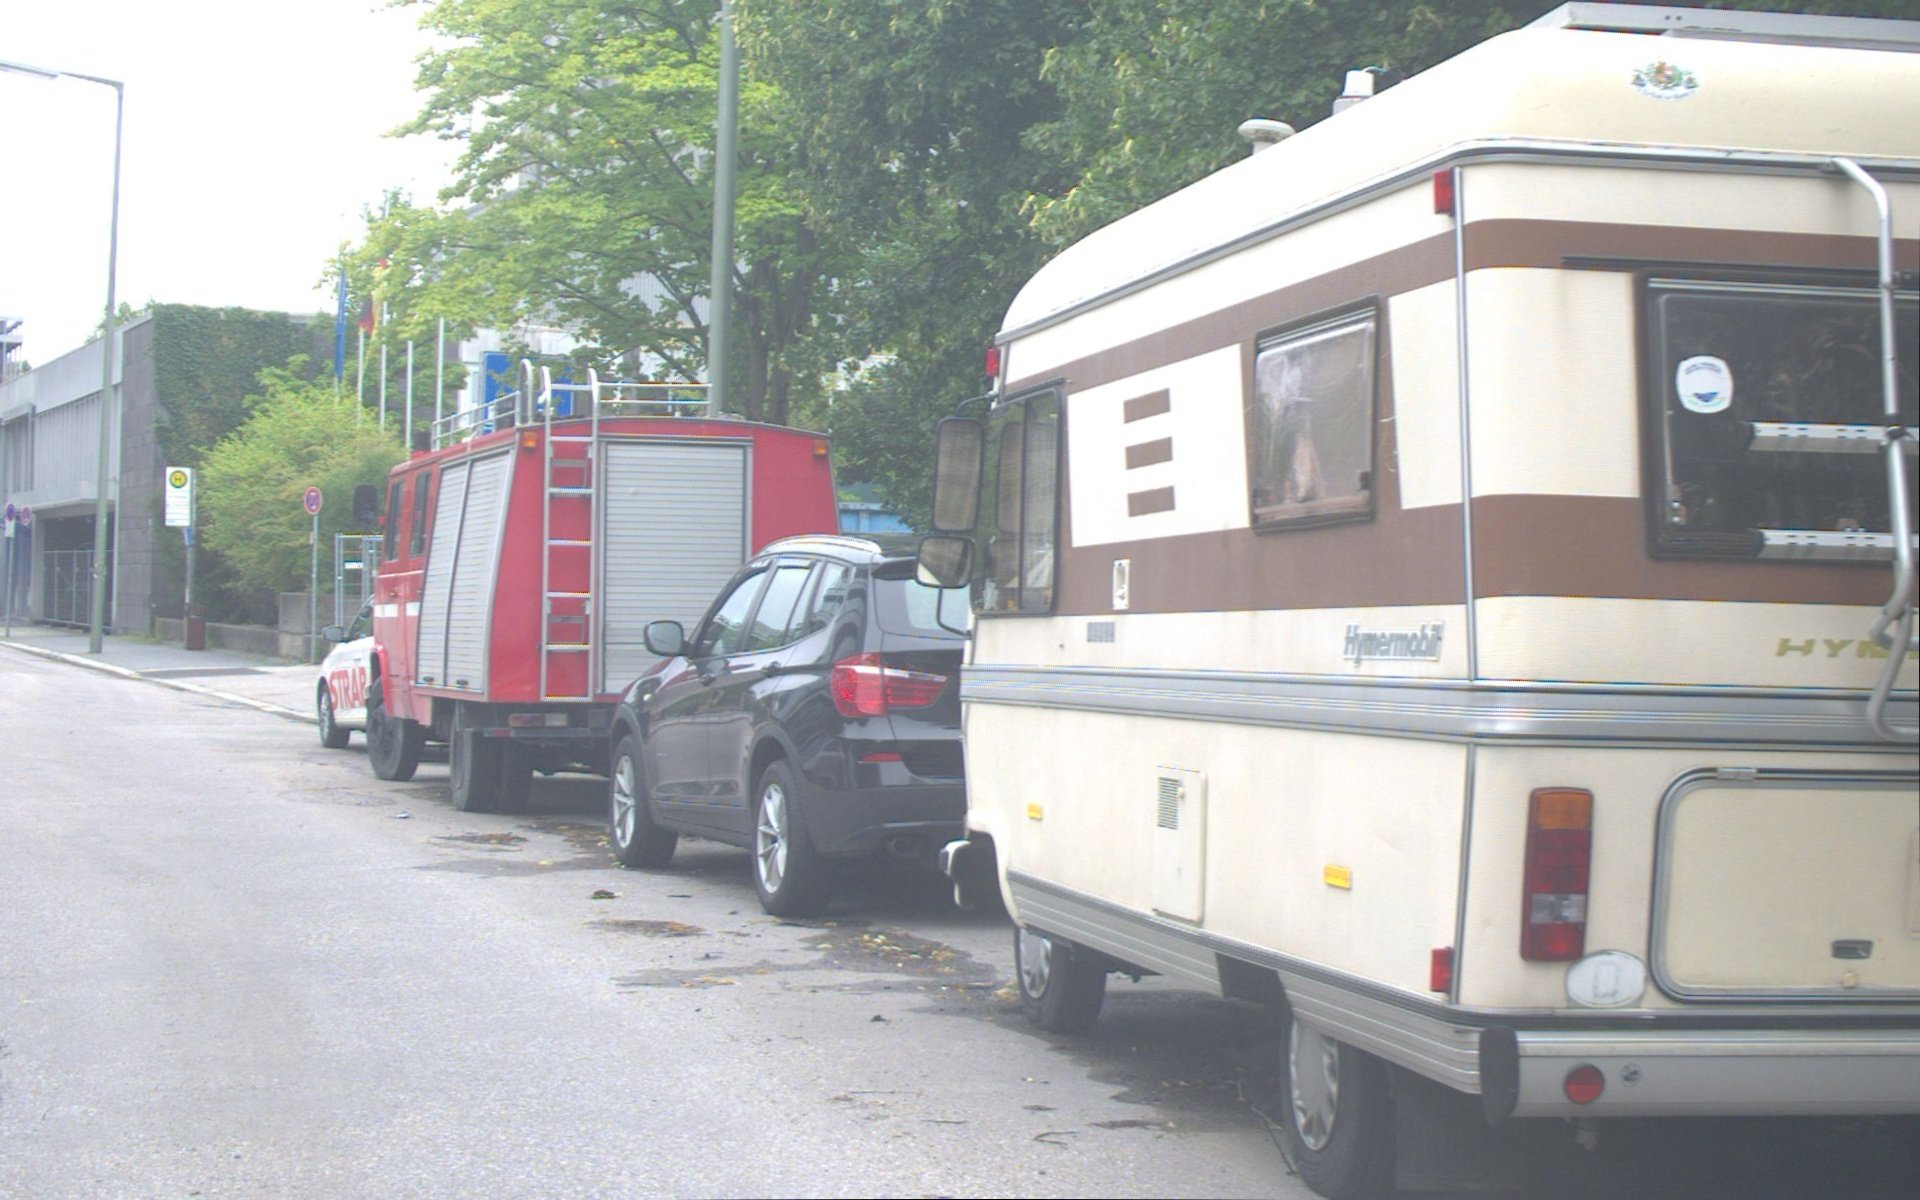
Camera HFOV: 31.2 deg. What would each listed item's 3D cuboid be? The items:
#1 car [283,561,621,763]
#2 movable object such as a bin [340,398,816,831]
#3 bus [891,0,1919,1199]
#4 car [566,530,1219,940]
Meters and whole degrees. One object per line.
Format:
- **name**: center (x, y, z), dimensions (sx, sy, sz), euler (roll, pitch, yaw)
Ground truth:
- **car**: center (-4.372, 0.478, 29.039), dimensions (1.775, 1.544, 4.258), euler (1, 0, -23)
- **movable object such as a bin**: center (-2.719, 0.062, 22.799), dimensions (2.103, 2.450, 6.189), euler (1, 0, -16)
- **bus**: center (1.525, 0.055, 9.274), dimensions (2.314, 2.690, 5.736), euler (1, 0, -12)
- **car**: center (-0.493, 0.531, 16.187), dimensions (1.775, 1.644, 4.461), euler (1, 0, -19)
